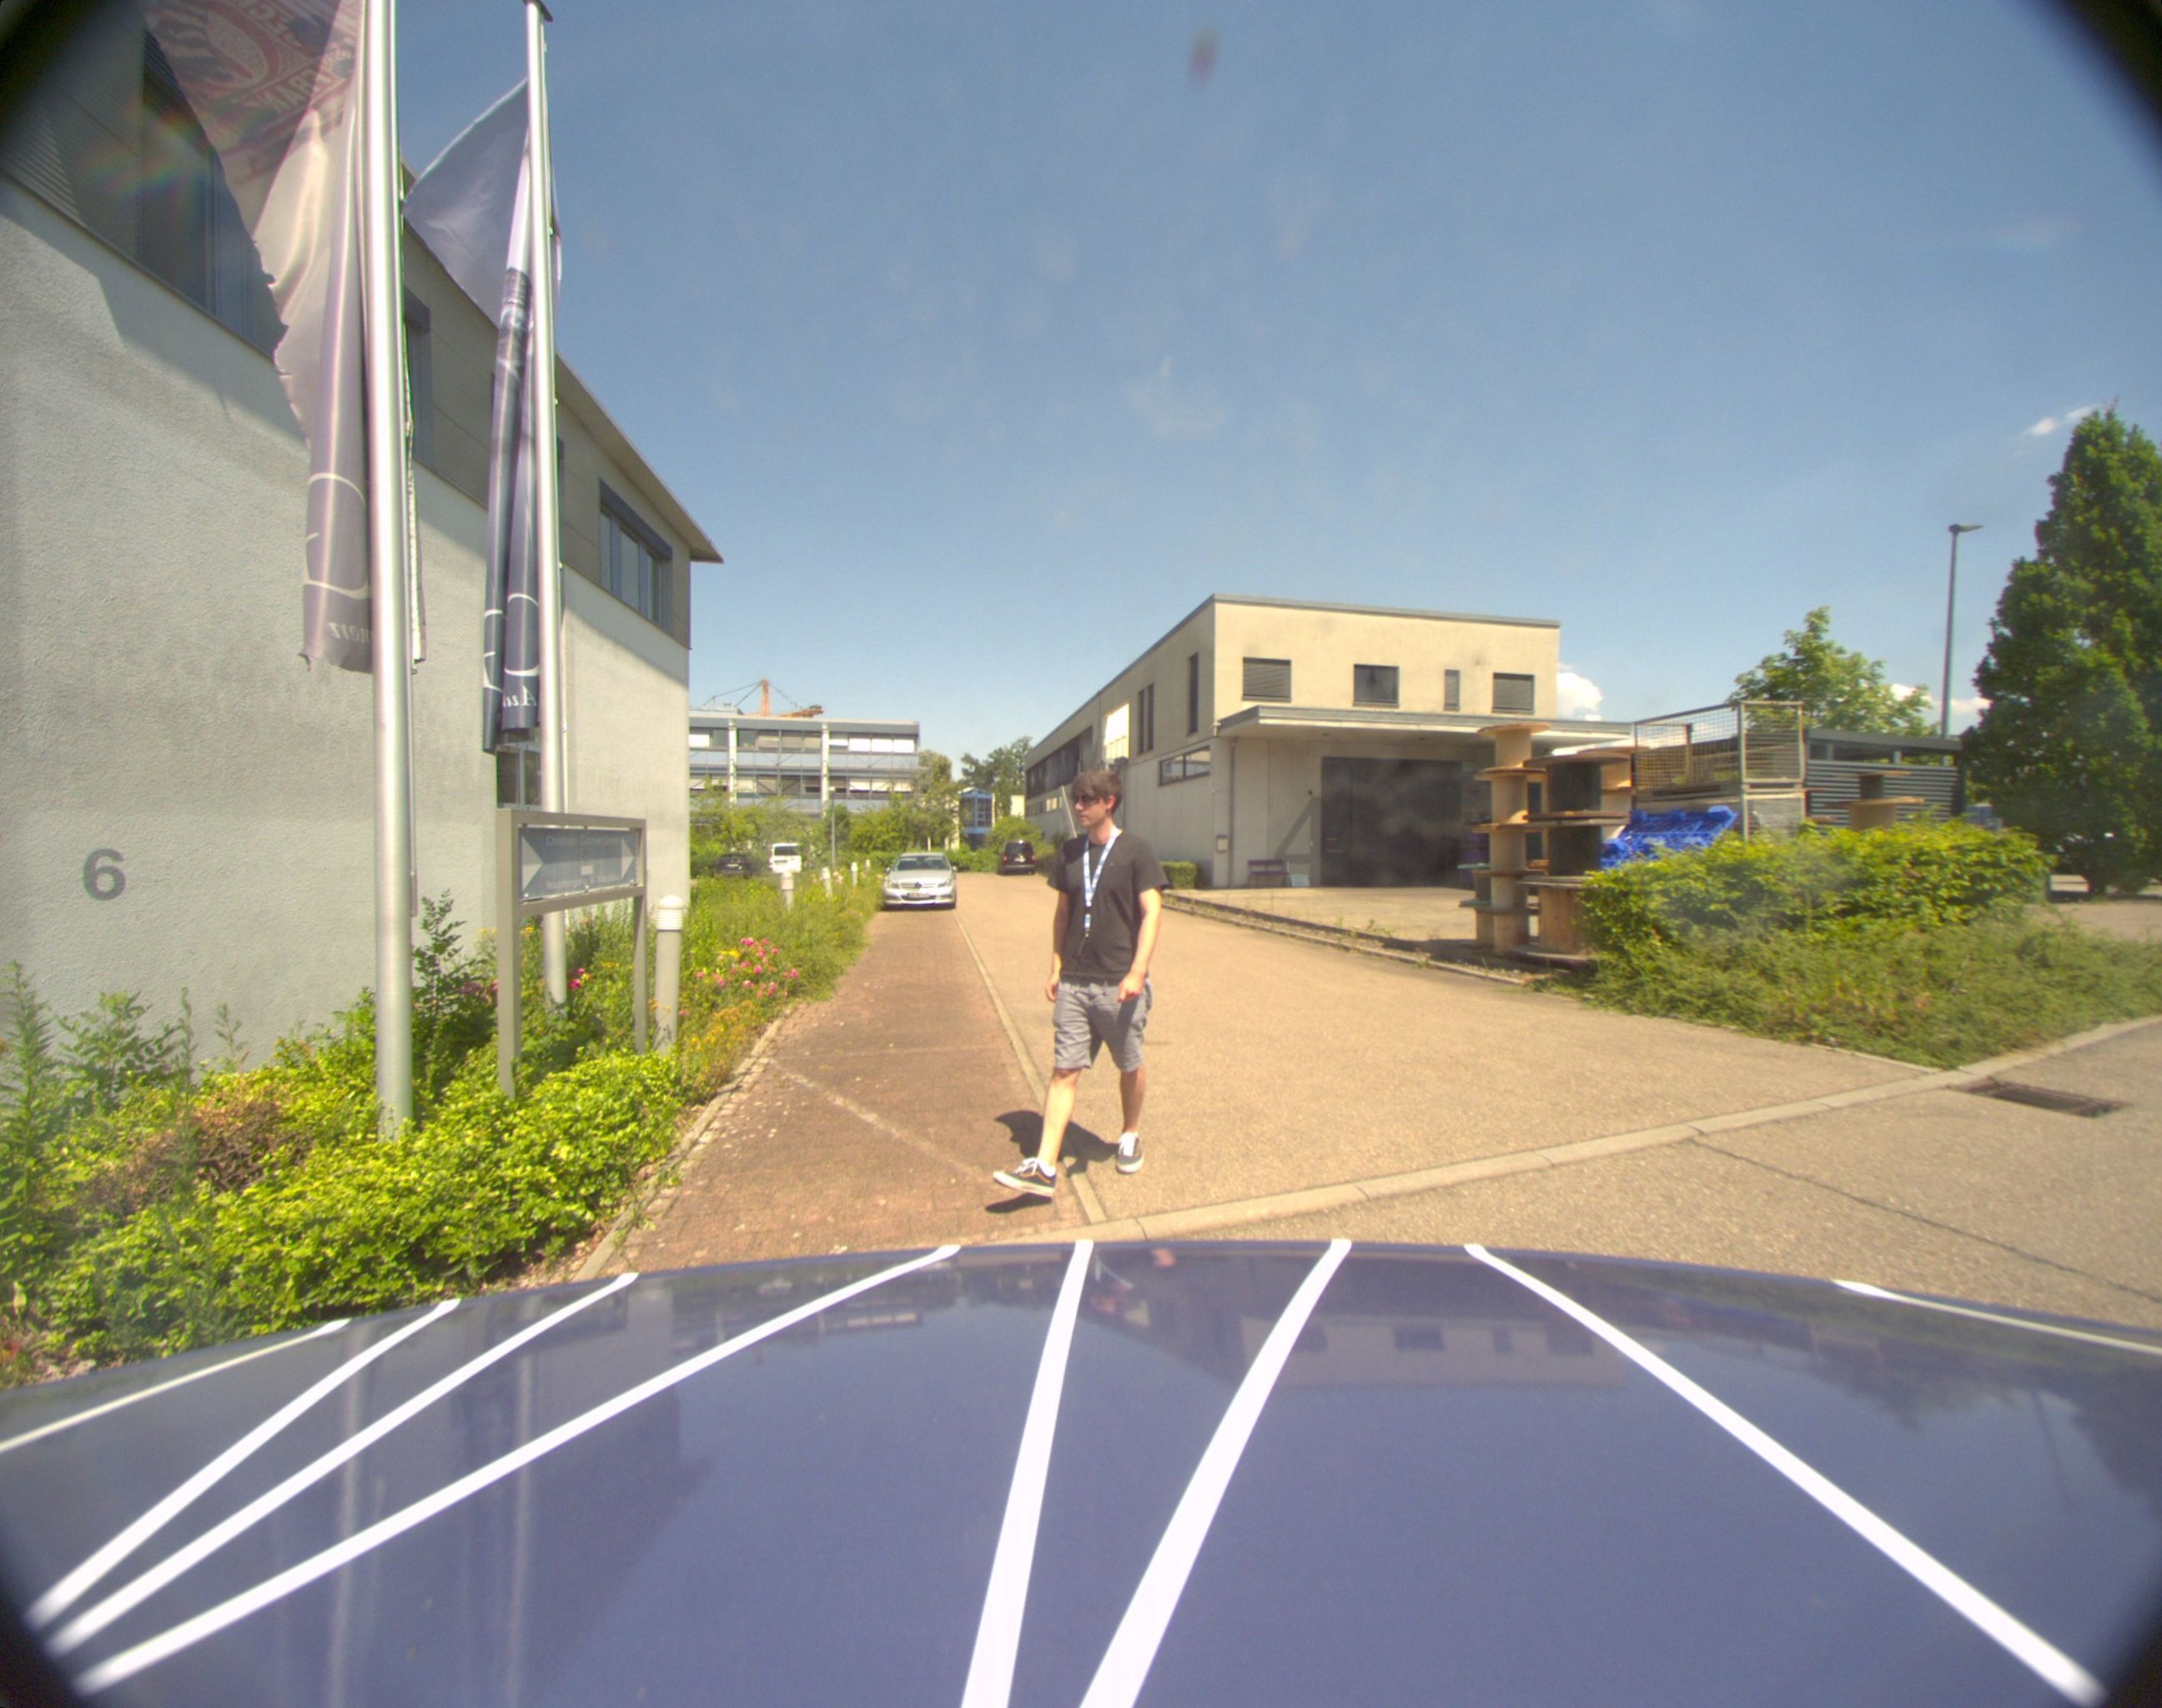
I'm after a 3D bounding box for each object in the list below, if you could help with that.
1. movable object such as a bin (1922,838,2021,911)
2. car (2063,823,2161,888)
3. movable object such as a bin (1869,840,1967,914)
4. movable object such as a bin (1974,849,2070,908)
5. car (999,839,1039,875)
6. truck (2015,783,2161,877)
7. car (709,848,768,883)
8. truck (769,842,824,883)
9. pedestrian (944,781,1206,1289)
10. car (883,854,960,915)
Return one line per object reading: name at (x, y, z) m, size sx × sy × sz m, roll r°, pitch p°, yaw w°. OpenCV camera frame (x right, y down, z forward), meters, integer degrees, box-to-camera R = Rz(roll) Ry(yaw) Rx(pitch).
movable object such as a bin at (17.098, 0.376, 14.606) m, size 1.073 × 1.329 × 0.759 m, roll -1°, pitch 2°, yaw -7°
car at (26.290, 0.029, 17.400) m, size 1.959 × 1.505 × 4.256 m, roll -1°, pitch 1°, yaw -5°
movable object such as a bin at (15.772, 0.407, 14.333) m, size 1.073 × 1.329 × 0.759 m, roll -1°, pitch 2°, yaw -7°
movable object such as a bin at (18.203, 0.462, 14.712) m, size 0.988 × 1.078 × 0.759 m, roll -1°, pitch 2°, yaw -7°
car at (-3.417, 0.126, 41.118) m, size 1.789 × 1.793 × 3.995 m, roll -1°, pitch 2°, yaw -10°
truck at (32.397, -0.770, 23.266) m, size 5.699 × 2.657 × 2.416 m, roll -2°, pitch 1°, yaw -11°
car at (-17.088, 0.534, 38.103) m, size 1.789 × 1.537 × 3.995 m, roll -2°, pitch 2°, yaw -11°
truck at (-14.169, 0.355, 38.011) m, size 2.001 × 1.883 × 3.995 m, roll -2°, pitch 1°, yaw -13°
pedestrian at (0.034, 0.645, 3.234) m, size 0.859 × 1.809 × 0.905 m, roll -1°, pitch 1°, yaw 16°
car at (-4.101, 0.731, 20.047) m, size 1.712 × 1.383 × 3.807 m, roll 0°, pitch 1°, yaw -8°
